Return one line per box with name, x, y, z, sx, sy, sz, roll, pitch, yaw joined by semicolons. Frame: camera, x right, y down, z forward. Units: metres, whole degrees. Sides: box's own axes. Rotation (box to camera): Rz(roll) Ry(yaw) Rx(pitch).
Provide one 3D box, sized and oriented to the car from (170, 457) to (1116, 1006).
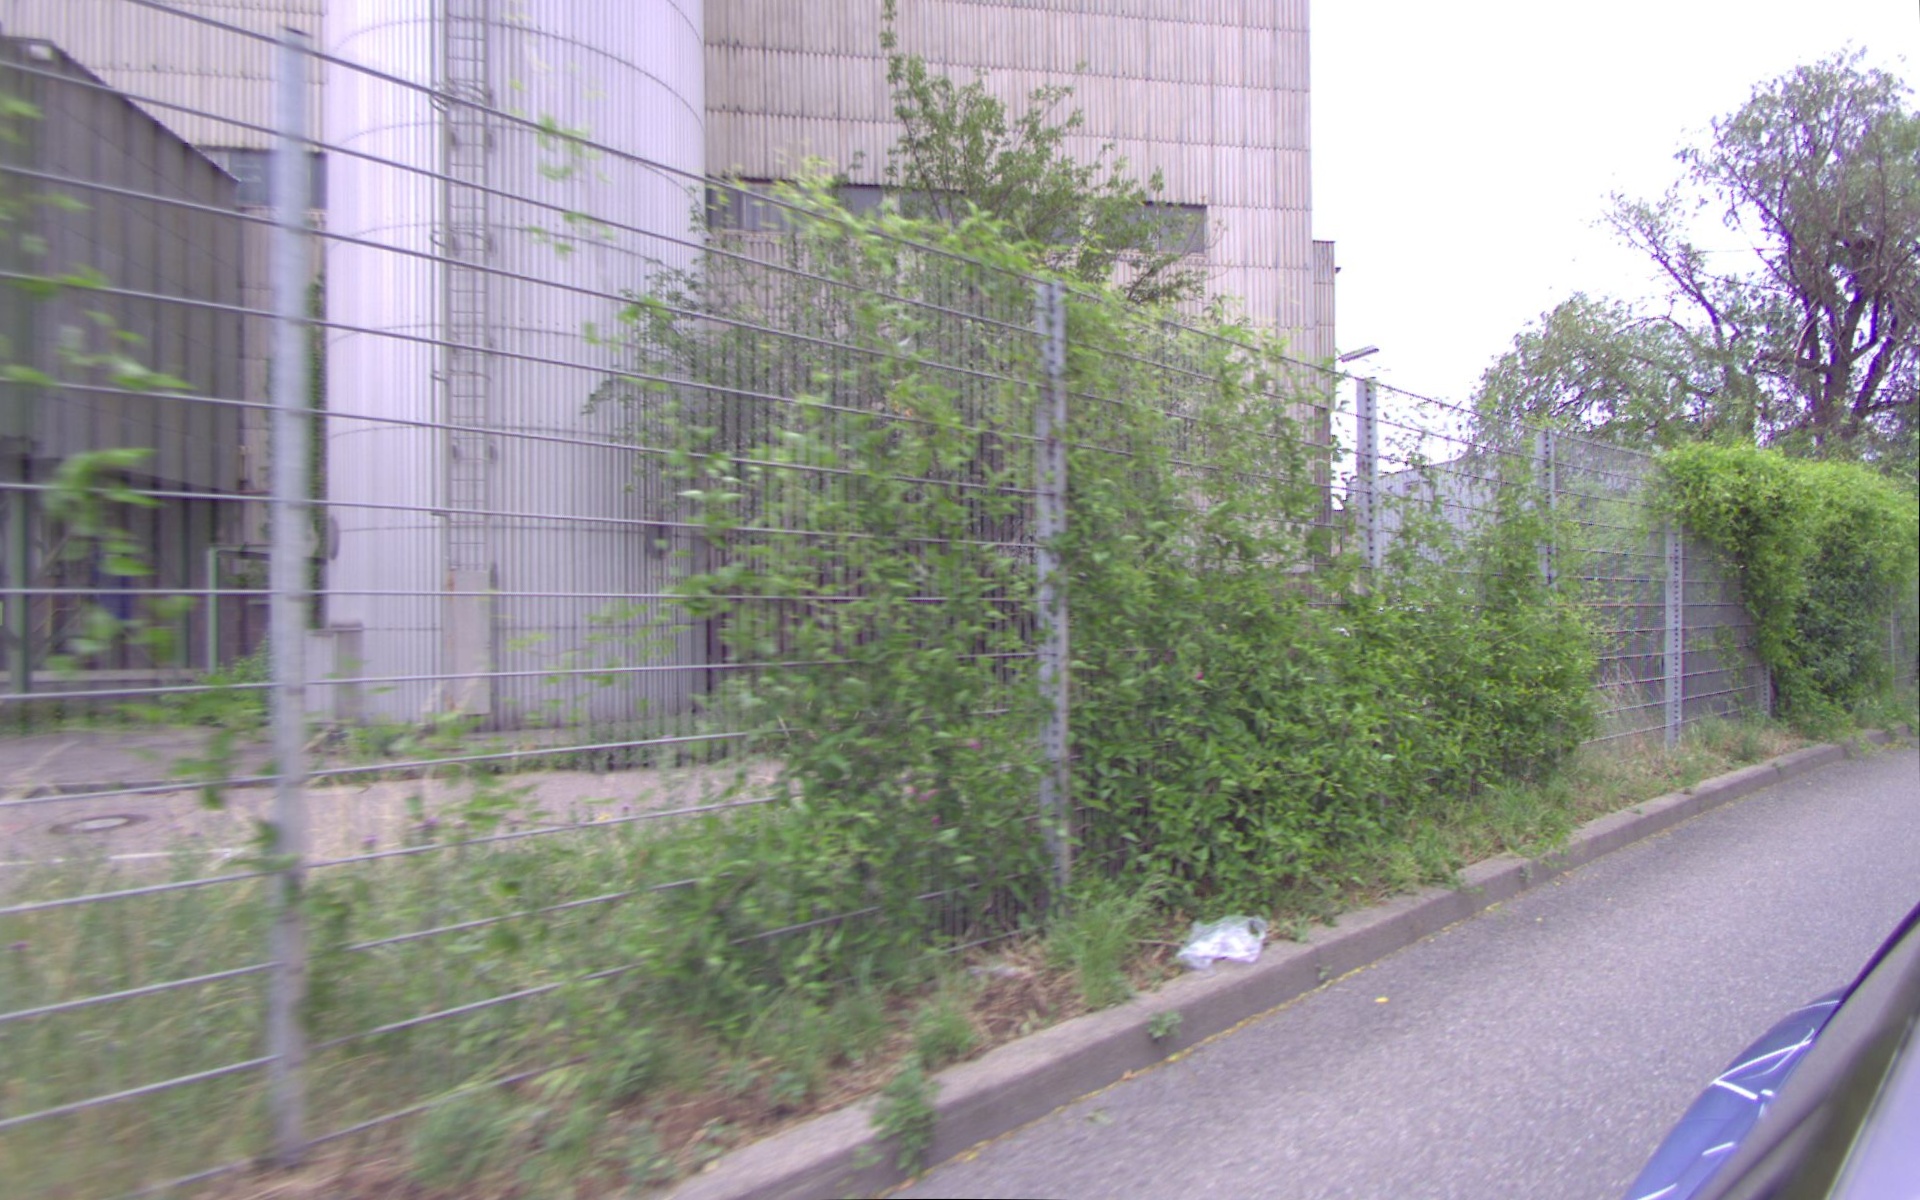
car;-1.528;0.430;5.950;4.754;2.039;2.000;-2;1;-35
